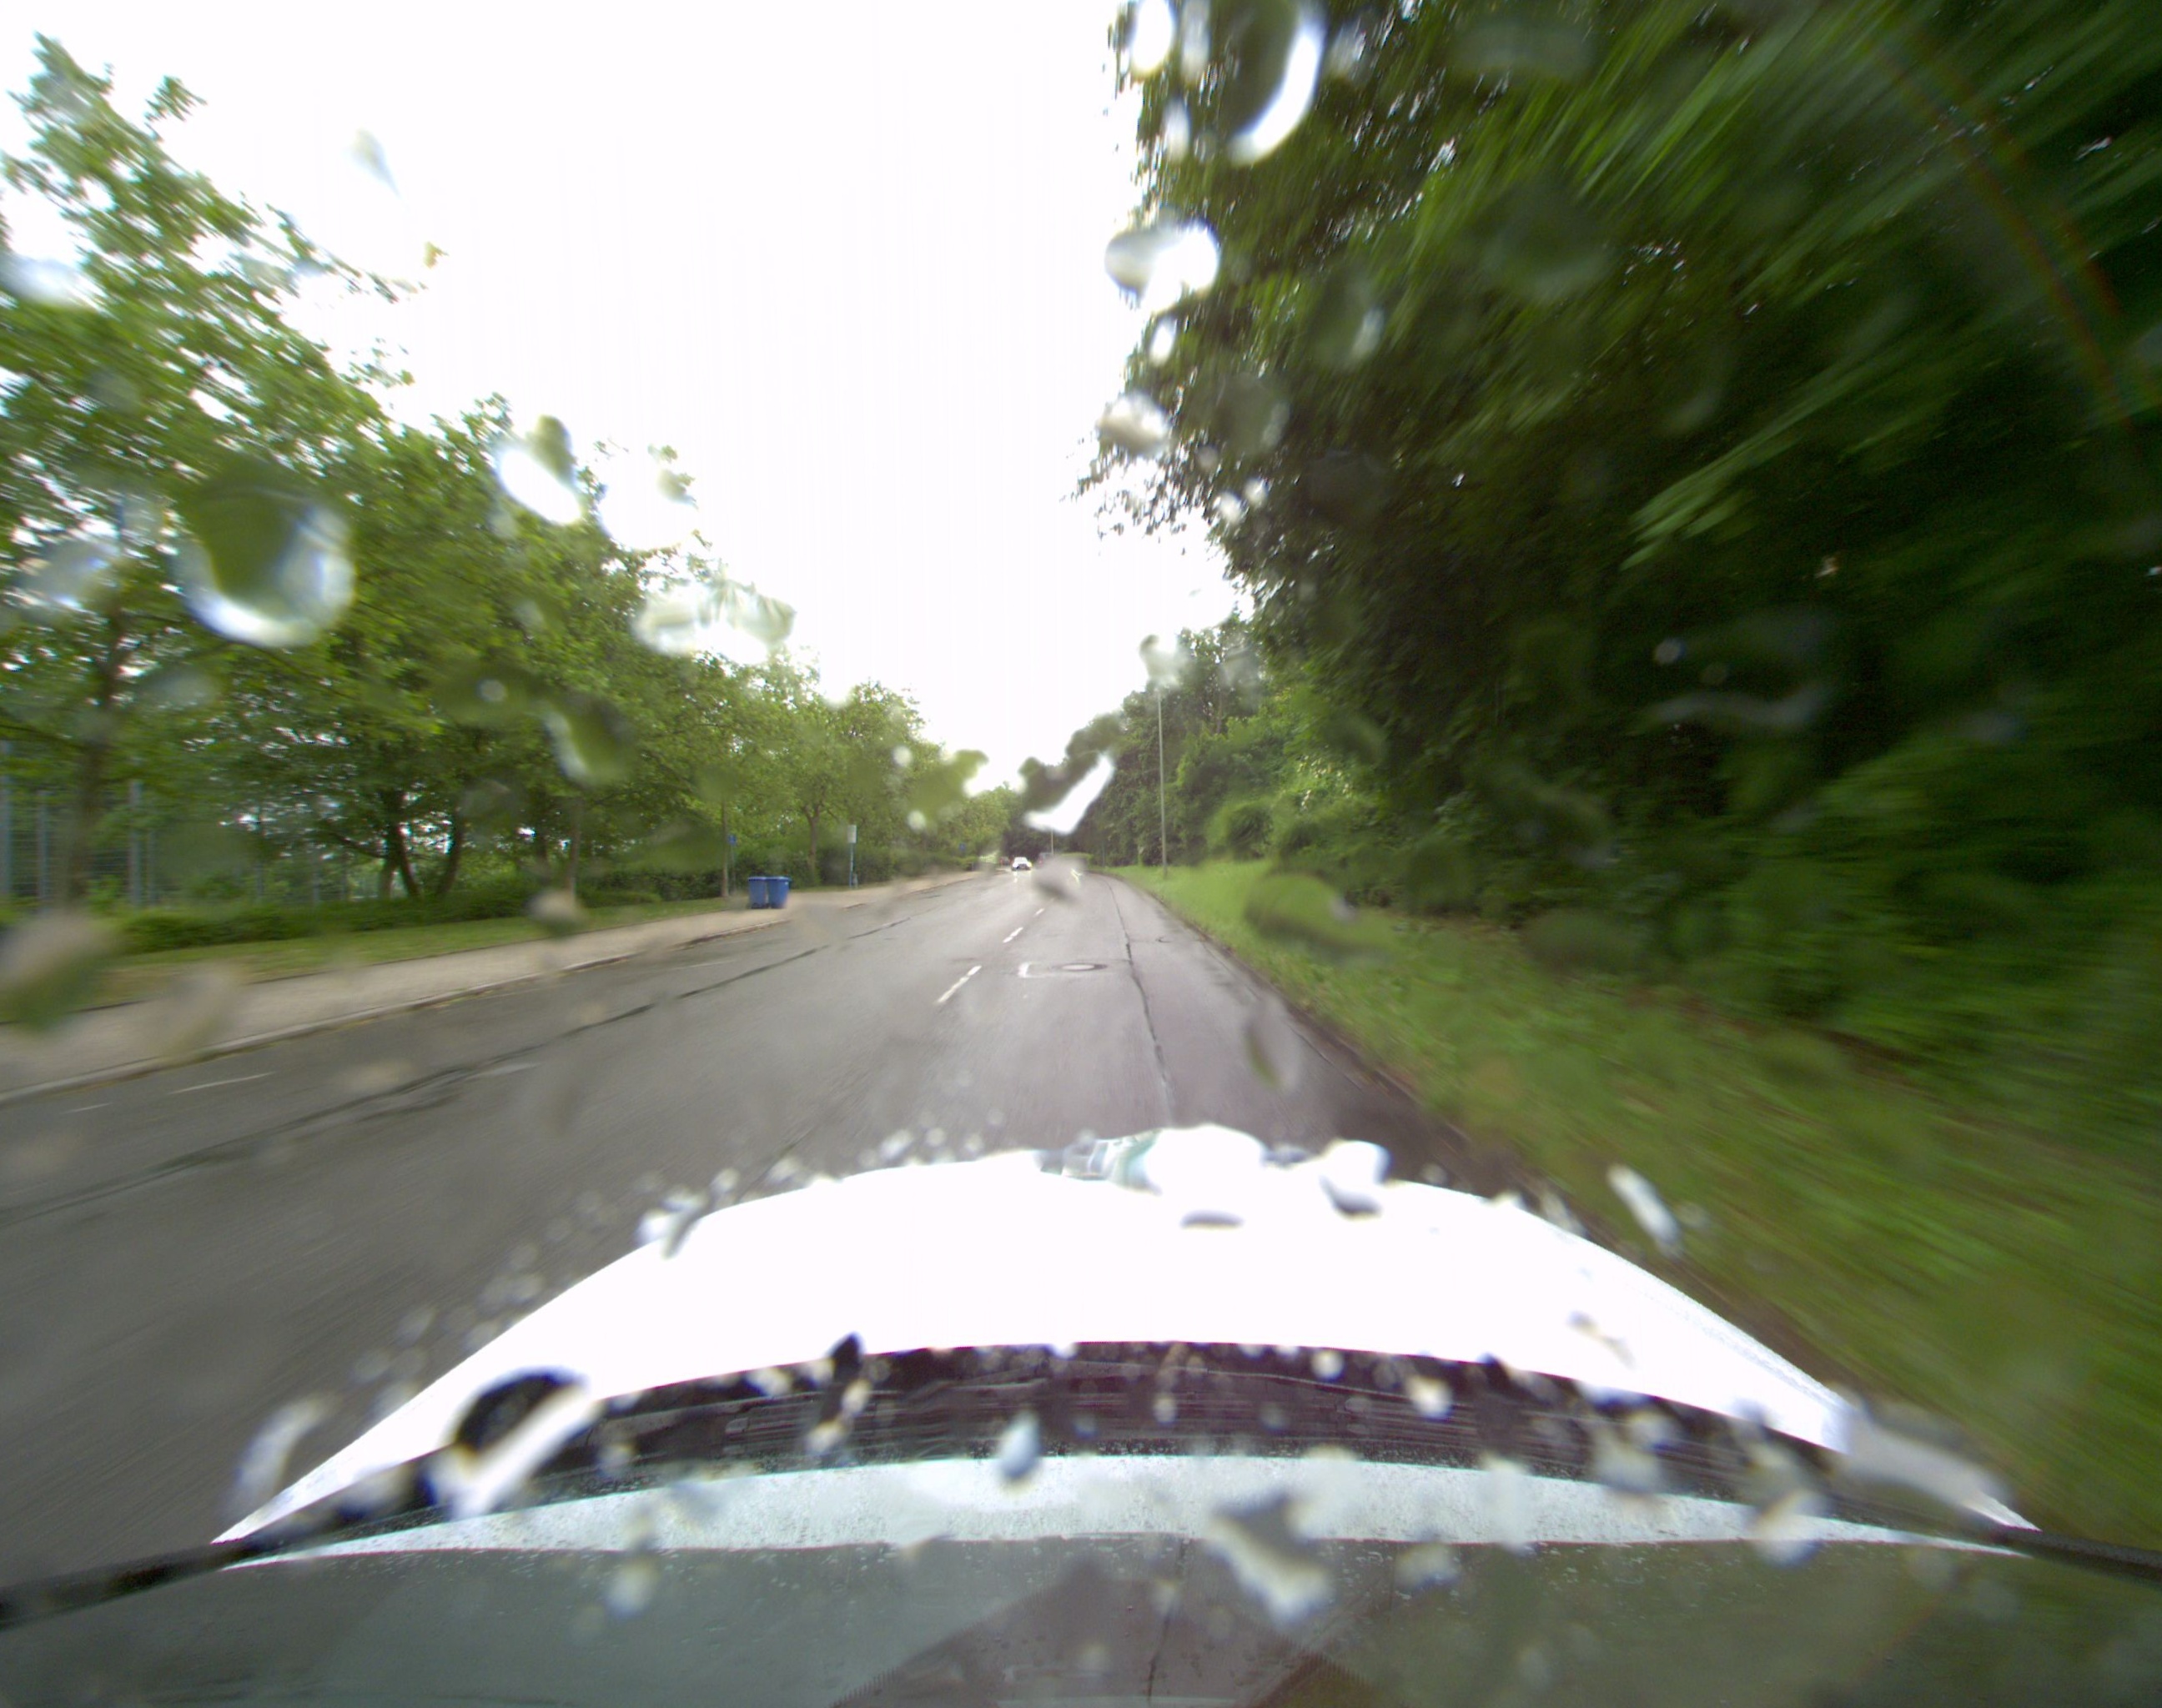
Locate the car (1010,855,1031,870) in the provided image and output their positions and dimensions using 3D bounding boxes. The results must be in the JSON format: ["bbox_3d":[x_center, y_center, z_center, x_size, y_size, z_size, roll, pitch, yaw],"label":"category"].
[{"bbox_3d":[-6.490,0.933,87.184,1.826,1.465,3.987,-3,0,-9],"label":"car"}]

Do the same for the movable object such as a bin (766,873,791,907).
[{"bbox_3d":[-10.231,1.220,27.536,0.564,1.098,0.672,1,0,3],"label":"movable object such as a bin"}]

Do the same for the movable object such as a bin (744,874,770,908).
[{"bbox_3d":[-10.841,1.233,27.296,0.564,1.098,0.672,1,0,3],"label":"movable object such as a bin"}]

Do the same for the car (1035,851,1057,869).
[{"bbox_3d":[-4.001,0.684,93.429,1.985,1.925,3.986,-1,0,-10],"label":"car"}]

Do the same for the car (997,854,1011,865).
[{"bbox_3d":[-12.733,0.939,134.669,1.994,1.816,3.985,0,-1,-11],"label":"car"}]
